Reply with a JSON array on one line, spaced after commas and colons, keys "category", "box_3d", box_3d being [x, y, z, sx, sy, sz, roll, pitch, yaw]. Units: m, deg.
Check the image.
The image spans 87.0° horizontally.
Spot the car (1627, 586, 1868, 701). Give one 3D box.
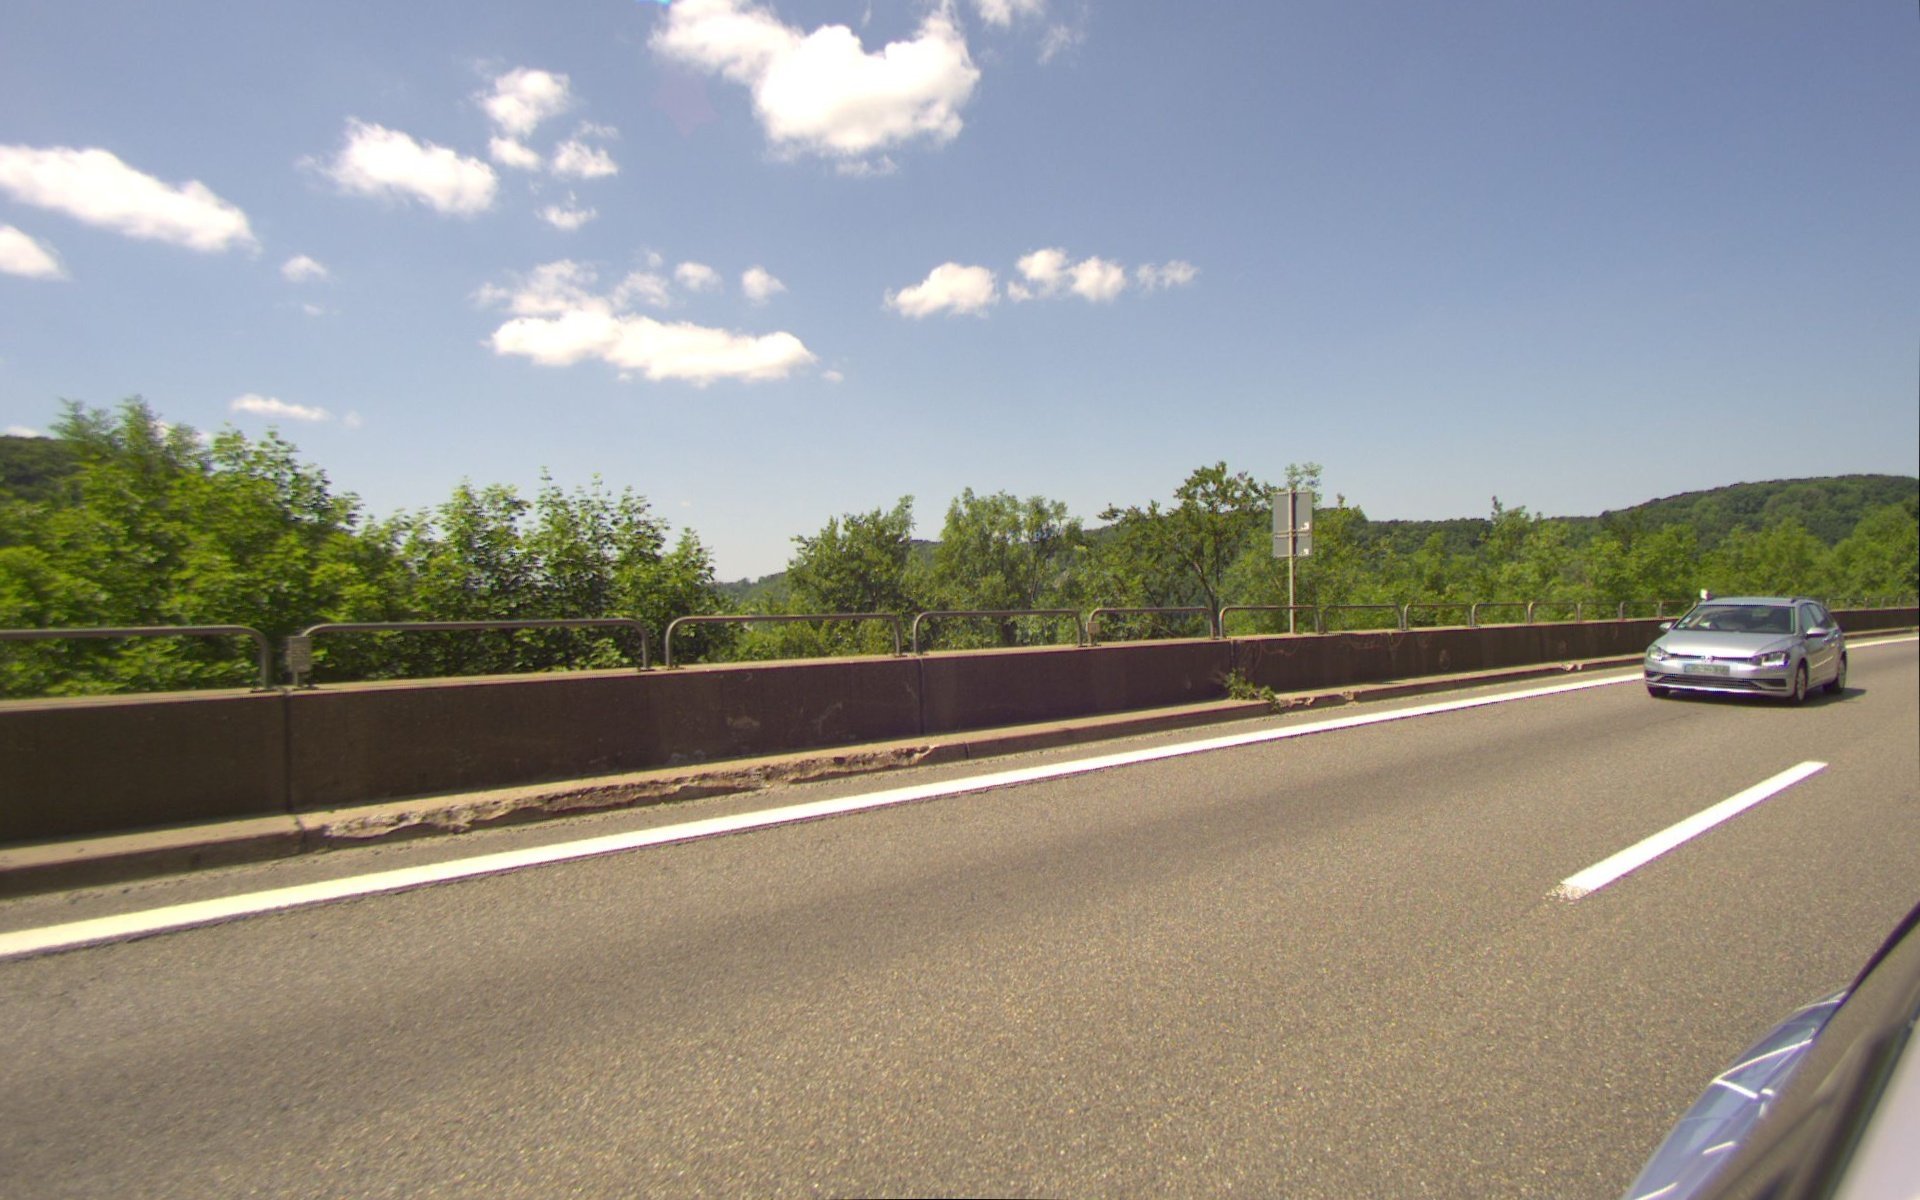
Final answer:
[{"category": "car", "box_3d": [11.732, 0.523, 14.989, 4.218, 1.394, 1.972, -1, 2, -40]}]
